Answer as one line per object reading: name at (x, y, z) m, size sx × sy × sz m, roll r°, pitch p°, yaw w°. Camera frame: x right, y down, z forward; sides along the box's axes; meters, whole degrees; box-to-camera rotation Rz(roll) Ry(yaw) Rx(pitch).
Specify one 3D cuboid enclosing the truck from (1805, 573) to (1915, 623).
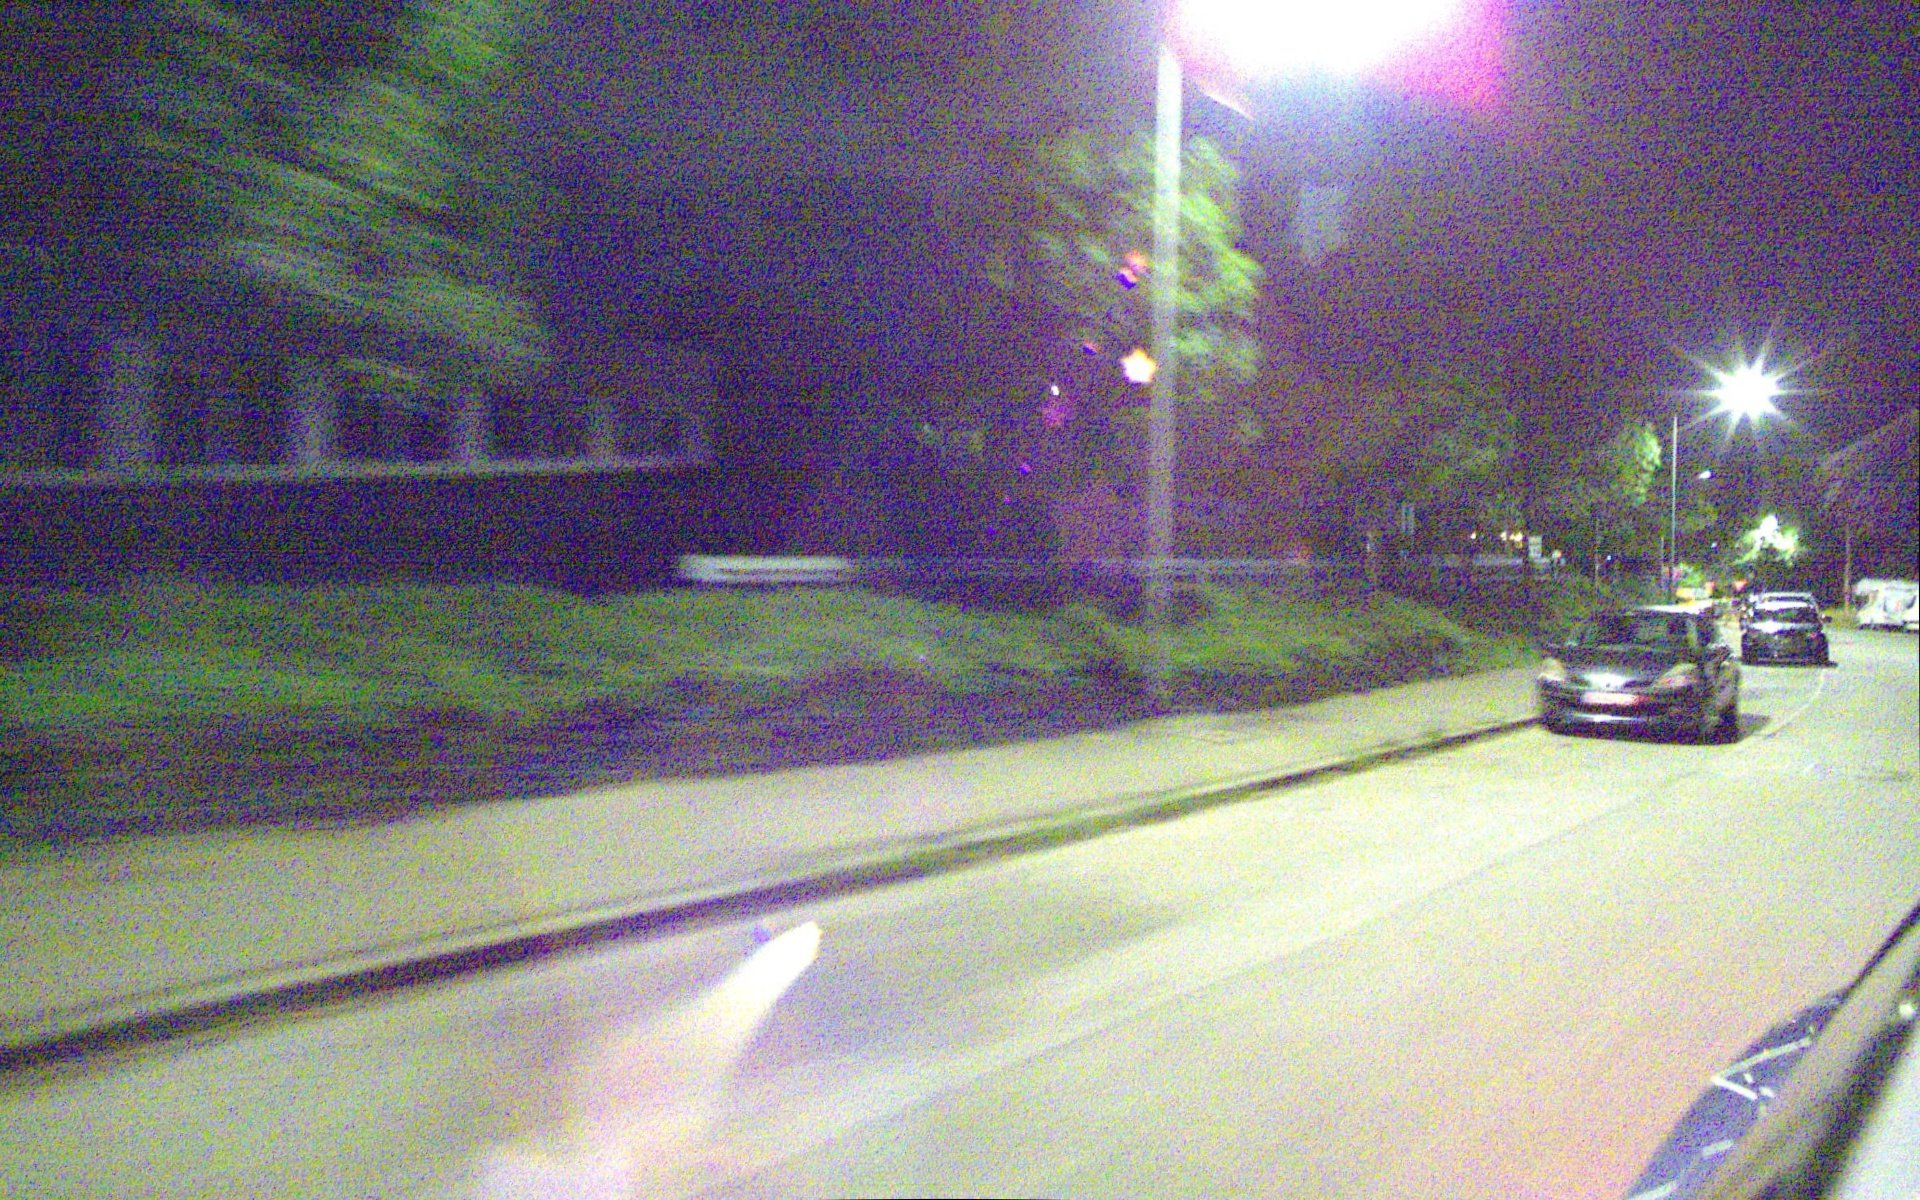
truck at (60.533, -0.201, 68.360) m, size 2.722 × 3.103 × 9.263 m, roll 1°, pitch 1°, yaw 23°

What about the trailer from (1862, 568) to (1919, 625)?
trailer at (55.092, -0.188, 58.913) m, size 2.472 × 3.111 × 7.861 m, roll 2°, pitch 1°, yaw 32°

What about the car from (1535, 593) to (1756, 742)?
car at (8.562, 0.699, 12.503) m, size 1.710 × 1.527 × 3.938 m, roll 1°, pitch 0°, yaw 43°

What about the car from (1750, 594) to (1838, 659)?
car at (21.298, 0.644, 25.870) m, size 1.606 × 1.531 × 3.770 m, roll -1°, pitch -1°, yaw 40°

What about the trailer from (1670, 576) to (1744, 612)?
trailer at (45.481, -0.401, 61.720) m, size 1.471 × 2.039 × 4.972 m, roll 2°, pitch 1°, yaw 9°

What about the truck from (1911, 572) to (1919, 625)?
truck at (50.777, -0.022, 51.341) m, size 1.983 × 2.819 × 7.167 m, roll 2°, pitch 1°, yaw 30°

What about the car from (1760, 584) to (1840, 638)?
car at (34.149, 0.422, 41.264) m, size 1.987 × 2.039 × 5.288 m, roll 0°, pitch 0°, yaw 34°
